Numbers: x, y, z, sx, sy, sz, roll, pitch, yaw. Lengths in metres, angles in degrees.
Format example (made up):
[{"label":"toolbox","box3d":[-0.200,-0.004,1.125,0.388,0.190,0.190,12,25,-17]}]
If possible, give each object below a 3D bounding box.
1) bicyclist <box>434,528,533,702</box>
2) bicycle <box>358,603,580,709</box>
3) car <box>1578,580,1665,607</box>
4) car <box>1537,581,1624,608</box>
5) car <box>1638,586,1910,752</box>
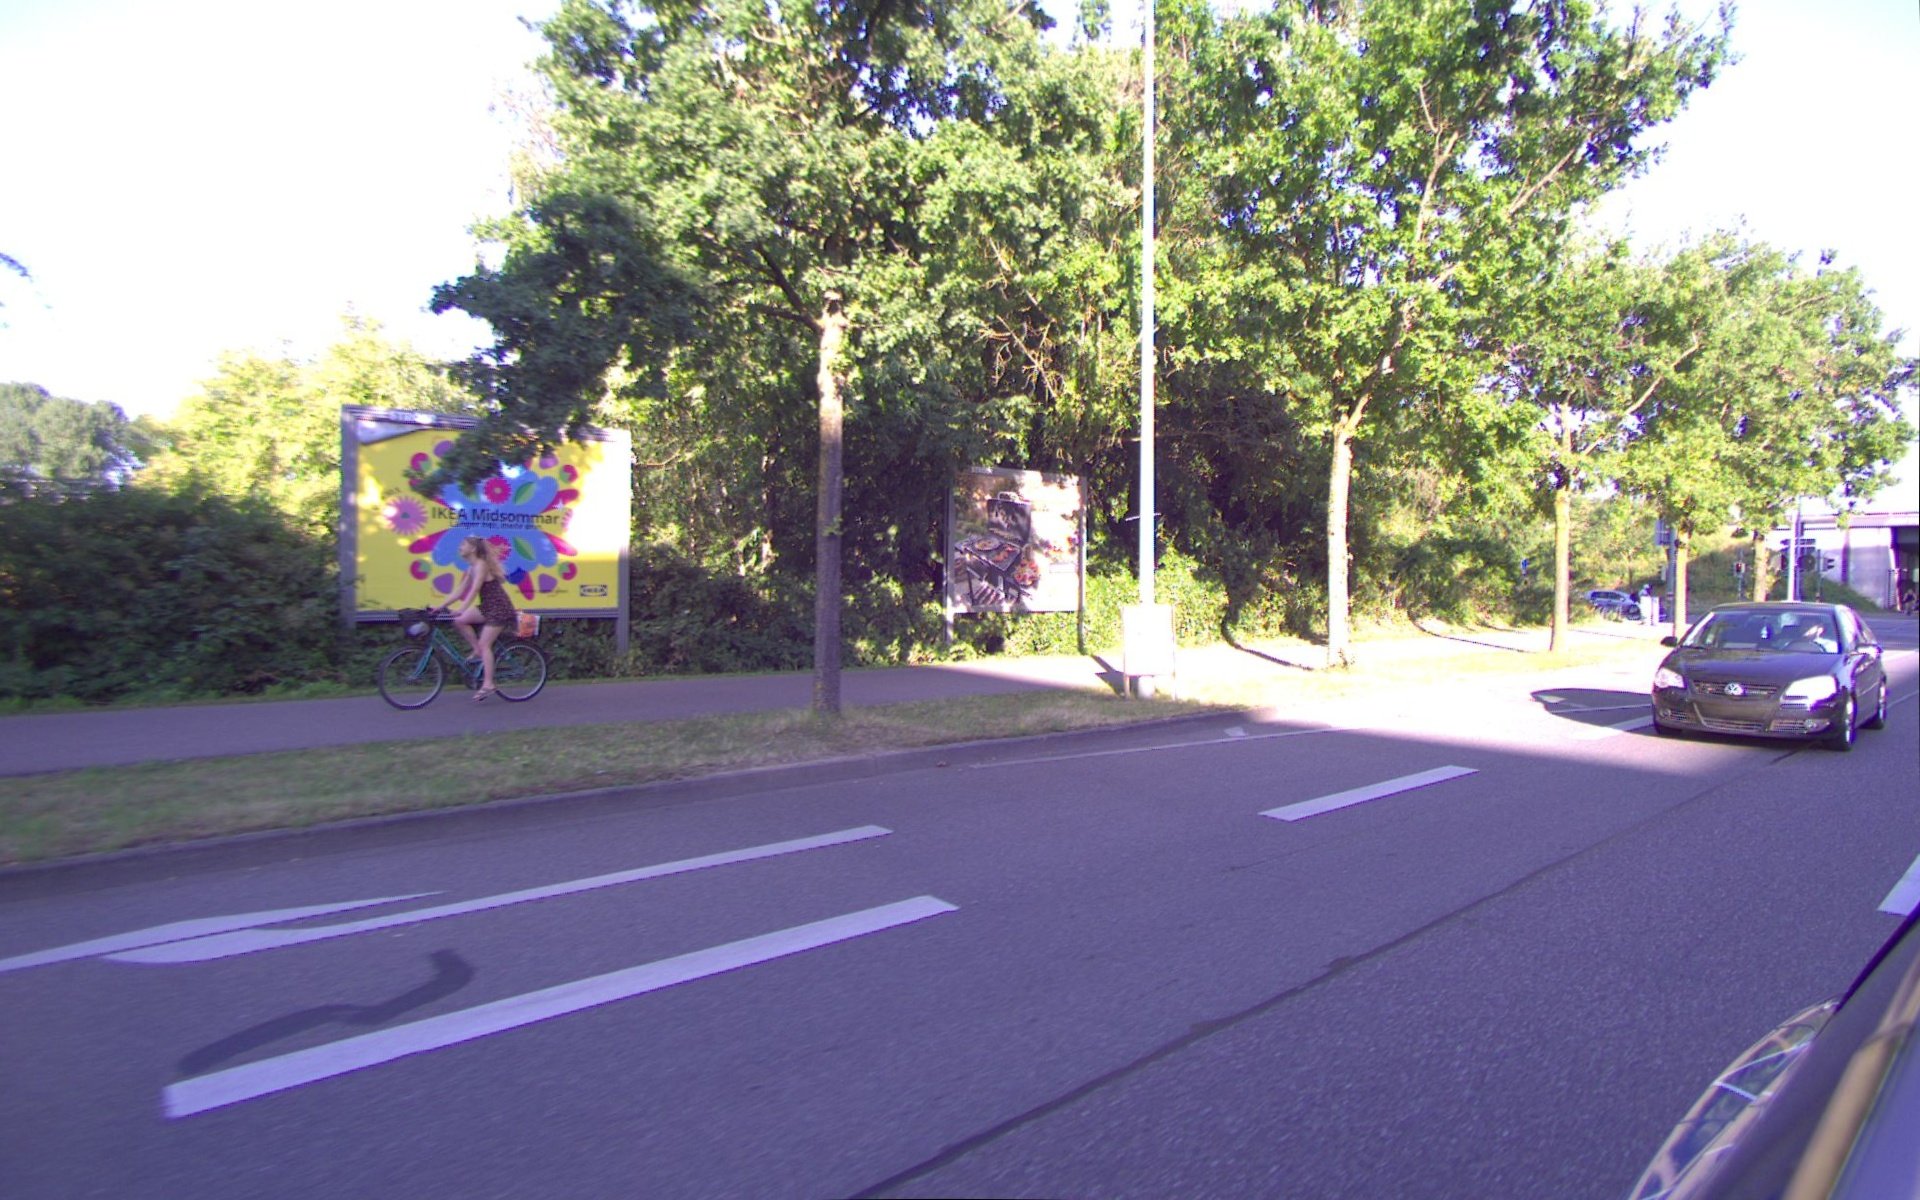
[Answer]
[{"label":"bicyclist","box3d":[-5.041,0.144,10.702,0.833,1.755,0.605,0,1,-39]},{"label":"bicycle","box3d":[-5.122,0.545,10.646,2.021,0.986,0.618,-1,1,-39]},{"label":"car","box3d":[42.202,-0.455,64.641,1.895,1.537,4.290,0,3,-36]},{"label":"car","box3d":[39.075,-0.385,63.817,1.895,1.537,4.290,0,3,-36]},{"label":"car","box3d":[9.194,0.613,11.309,4.141,1.518,1.724,0,0,-42]}]
